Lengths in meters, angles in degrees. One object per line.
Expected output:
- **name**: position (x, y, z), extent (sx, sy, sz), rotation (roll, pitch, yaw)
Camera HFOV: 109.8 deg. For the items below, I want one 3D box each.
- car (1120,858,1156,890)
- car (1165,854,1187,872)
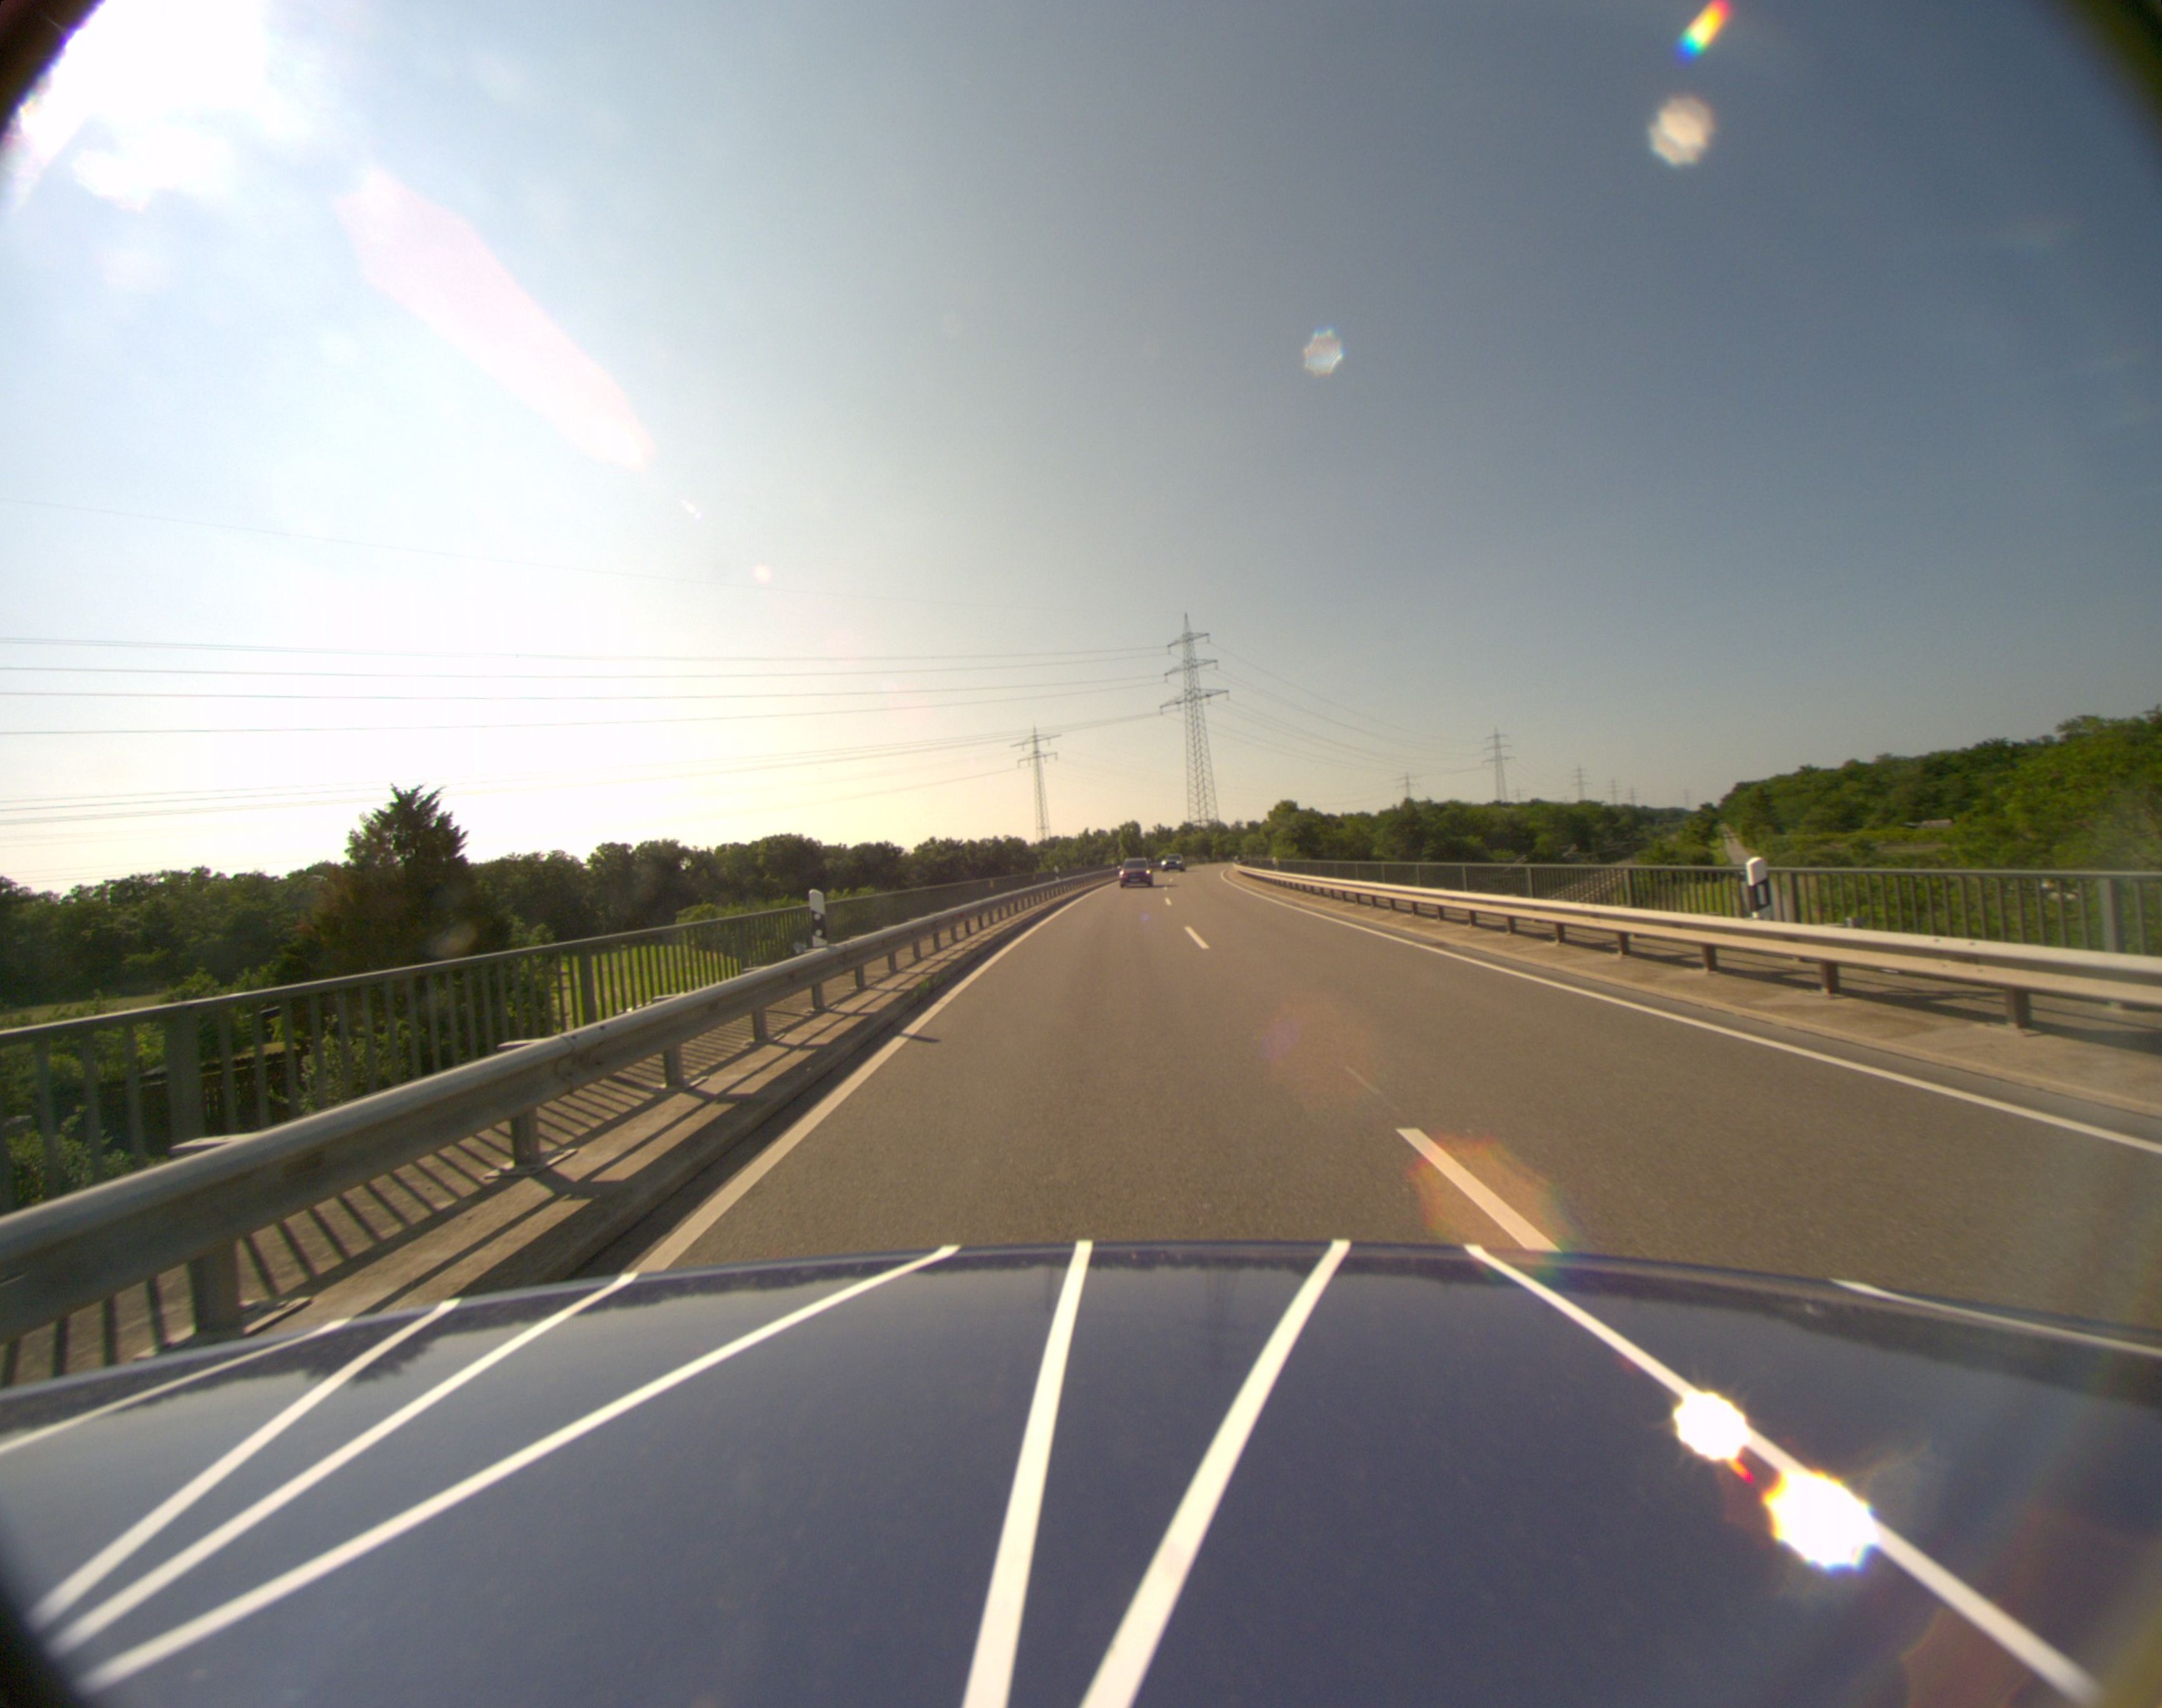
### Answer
- **car**: position (3.079, 1.032, 40.434), extent (1.606, 1.486, 4.002), rotation (-3, 1, 8)
- **car**: position (9.142, 0.871, 72.698), extent (1.605, 1.486, 4.003), rotation (-3, 1, 13)
